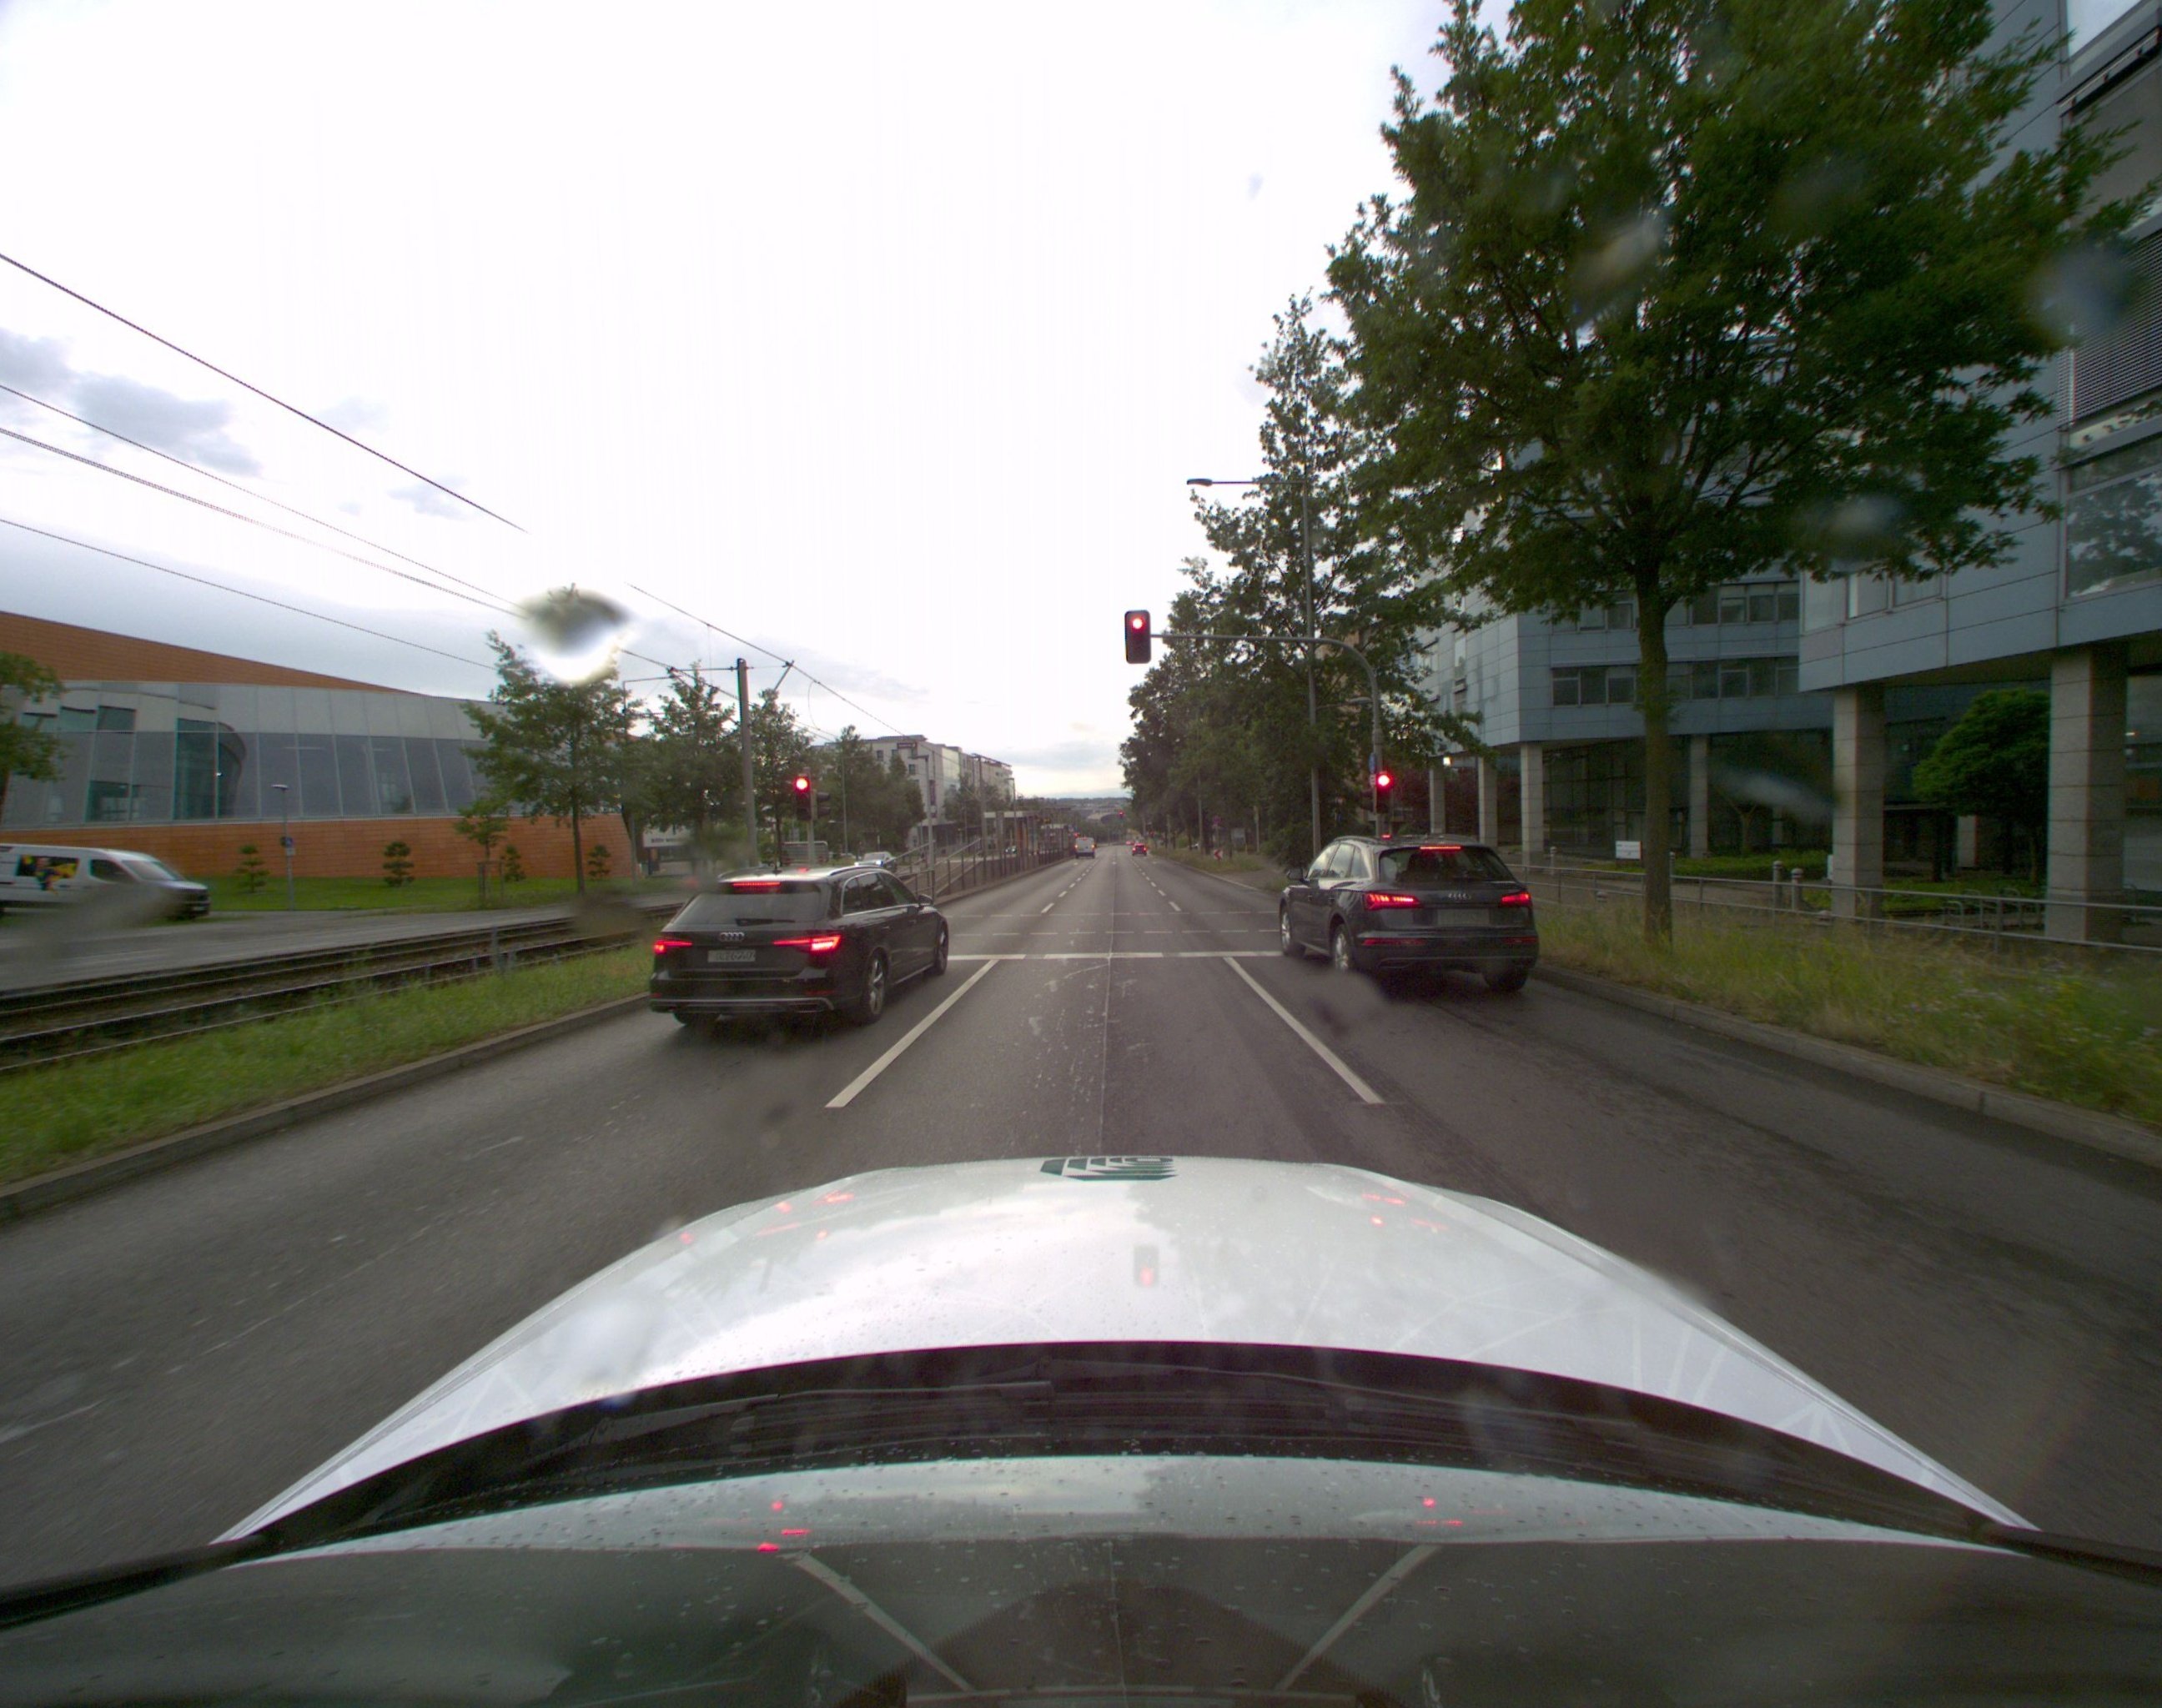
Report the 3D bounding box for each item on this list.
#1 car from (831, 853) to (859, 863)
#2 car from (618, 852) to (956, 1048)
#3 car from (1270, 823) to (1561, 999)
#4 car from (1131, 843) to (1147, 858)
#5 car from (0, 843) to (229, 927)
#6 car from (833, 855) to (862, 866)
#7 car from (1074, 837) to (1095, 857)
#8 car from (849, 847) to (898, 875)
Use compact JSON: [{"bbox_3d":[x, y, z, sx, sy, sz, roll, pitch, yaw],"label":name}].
[{"bbox_3d":[-37.660,0.634,130.164,4.093,1.436,1.649,-4,0,-13],"label":"car"},{"bbox_3d":[-2.659,0.751,8.647,1.773,1.466,4.516,-1,0,2],"label":"car"},{"bbox_3d":[3.640,0.515,9.843,1.811,1.612,4.473,-1,0,2],"label":"car"},{"bbox_3d":[7.253,-0.454,101.893,1.767,1.691,3.847,-1,1,2],"label":"car"},{"bbox_3d":[-32.403,0.981,26.741,5.616,2.581,2.393,1,0,-16],"label":"car"},{"bbox_3d":[-30.187,0.861,105.366,3.341,1.387,1.440,-1,1,19],"label":"car"},{"bbox_3d":[0.450,-0.761,90.232,2.085,2.053,4.609,-1,1,2],"label":"car"},{"bbox_3d":[-14.182,0.469,55.972,1.986,1.719,4.842,-3,0,1],"label":"car"}]
